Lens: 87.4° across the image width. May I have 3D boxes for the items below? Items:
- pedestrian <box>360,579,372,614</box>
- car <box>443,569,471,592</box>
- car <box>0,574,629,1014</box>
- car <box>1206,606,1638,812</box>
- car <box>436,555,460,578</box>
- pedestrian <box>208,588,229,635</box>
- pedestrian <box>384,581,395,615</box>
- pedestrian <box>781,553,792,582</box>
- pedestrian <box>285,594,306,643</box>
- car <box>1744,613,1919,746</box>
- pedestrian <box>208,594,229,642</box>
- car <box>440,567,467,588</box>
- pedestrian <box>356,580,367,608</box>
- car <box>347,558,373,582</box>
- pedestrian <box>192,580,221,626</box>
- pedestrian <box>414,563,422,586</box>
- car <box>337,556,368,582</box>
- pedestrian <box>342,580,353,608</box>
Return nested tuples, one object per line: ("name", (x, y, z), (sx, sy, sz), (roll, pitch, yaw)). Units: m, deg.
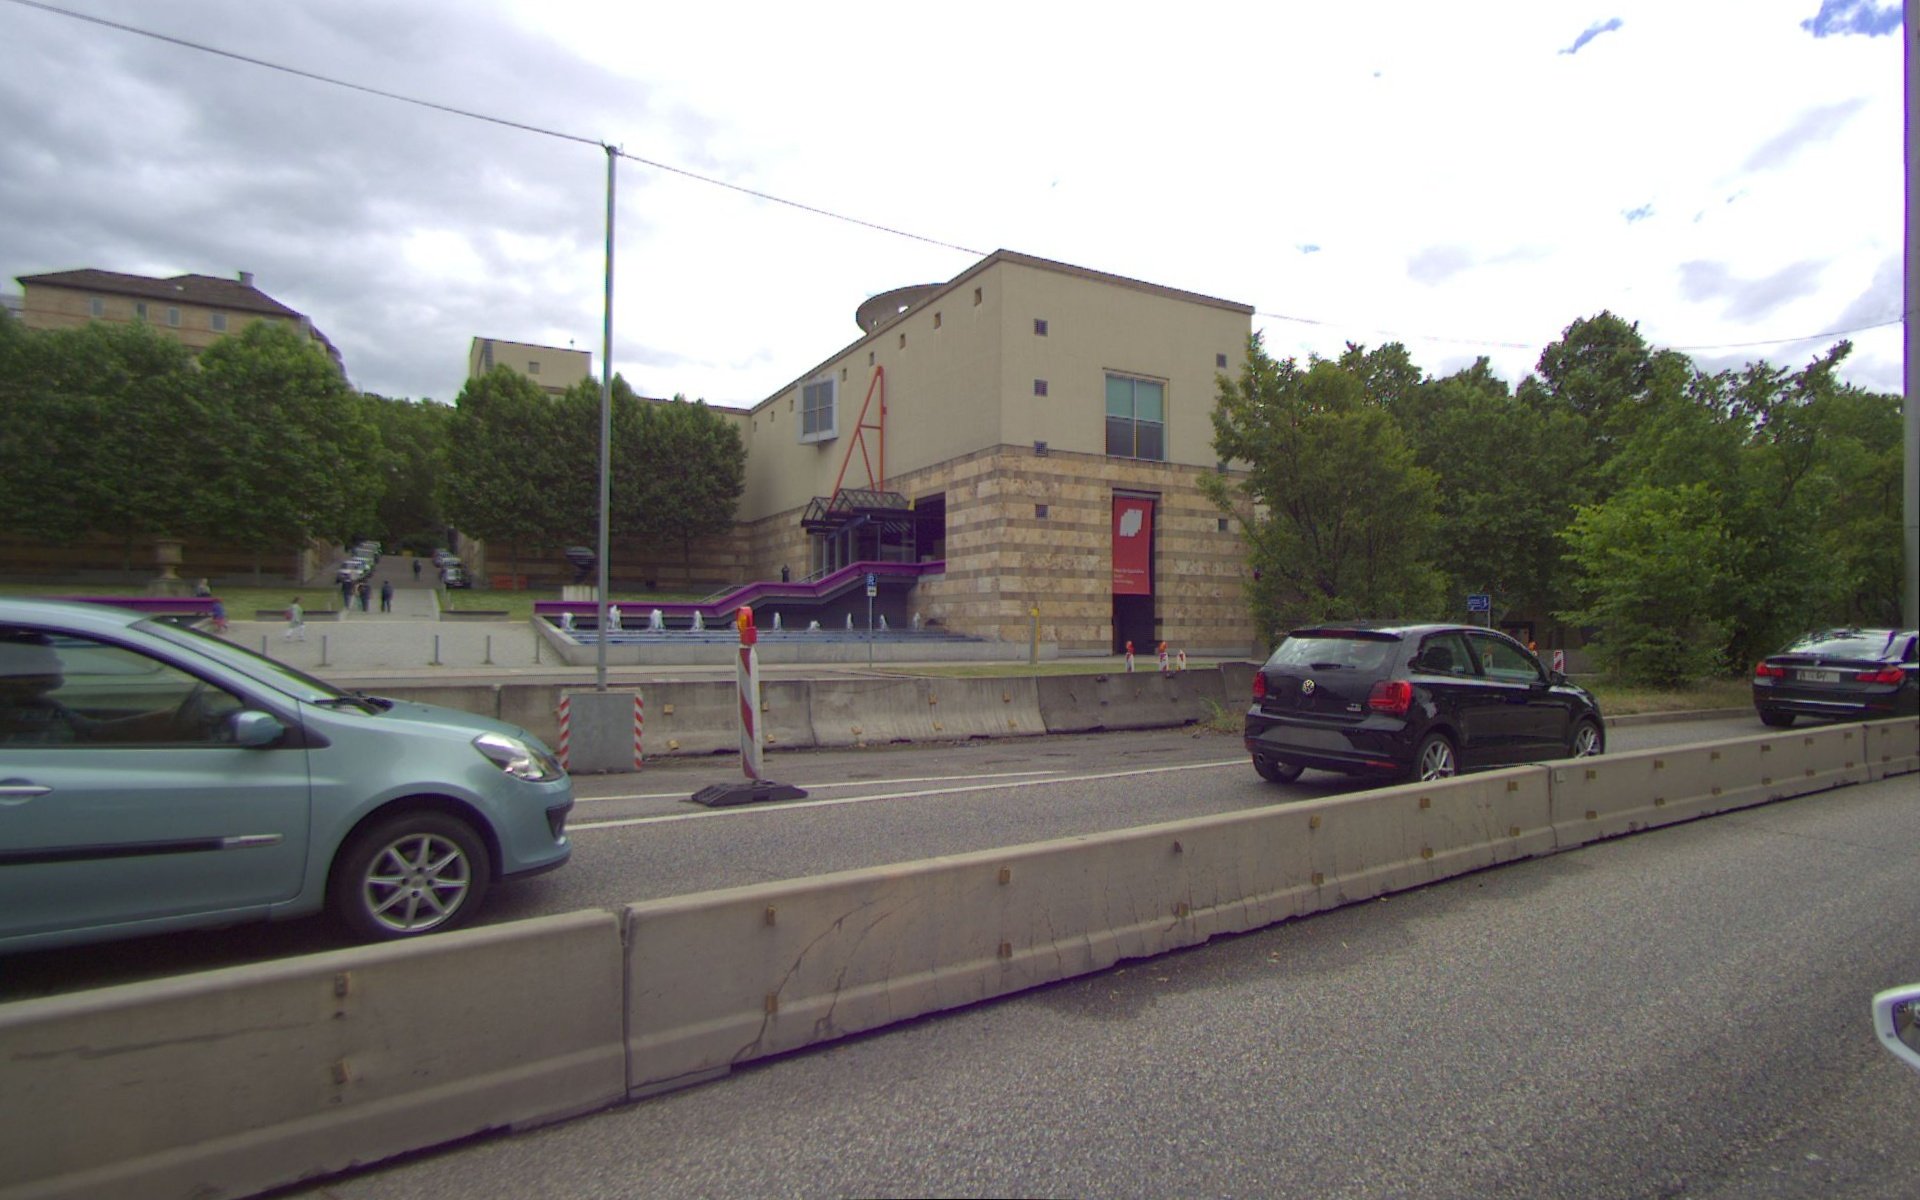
("pedestrian", (-30.718, -0.176, 51.927), (0.472, 1.772, 0.642), (1, 0, -31))
("car", (-36.038, -1.394, 71.928), (1.591, 1.557, 3.777), (2, 0, -30))
("car", (-3.595, 0.678, 4.310), (3.816, 1.527, 1.661), (2, -1, -35))
("car", (4.283, 0.841, 9.079), (4.155, 1.473, 1.649), (2, -1, -34))
("car", (-42.471, -2.733, 83.313), (1.591, 1.822, 3.777), (2, 0, -30))
("pedestrian", (-27.250, 0.426, 36.928), (0.520, 1.717, 0.693), (1, 0, -30))
("pedestrian", (-29.785, -0.087, 52.417), (0.472, 1.772, 0.642), (1, 0, -31))
("pedestrian", (-12.417, -2.329, 71.783), (0.594, 2.040, 0.409), (2, 1, -30))
("pedestrian", (-23.554, 0.659, 35.612), (0.522, 1.717, 0.690), (1, 0, -40))
("car", (13.633, 1.072, 14.819), (4.887, 1.657, 1.911), (2, -1, -35))
("pedestrian", (-26.897, 0.651, 36.437), (0.520, 1.717, 0.340), (1, 0, -30))
("car", (-39.169, -1.746, 77.653), (1.591, 1.557, 3.777), (2, 0, -30))
("pedestrian", (-31.716, -0.320, 53.231), (0.472, 1.441, 0.402), (1, 0, -31))
("car", (-48.230, -2.403, 80.781), (1.590, 1.822, 3.780), (1, 0, -28))
("pedestrian", (-31.107, 0.110, 41.474), (0.794, 1.877, 0.689), (2, 1, -29))
("pedestrian", (-43.300, -2.015, 80.266), (0.535, 1.808, 0.464), (2, -1, -27))
("car", (-44.518, -2.246, 73.636), (1.589, 1.822, 3.782), (1, 0, -26))
("pedestrian", (-32.631, -0.310, 53.493), (0.472, 1.441, 0.402), (1, 0, -31))
